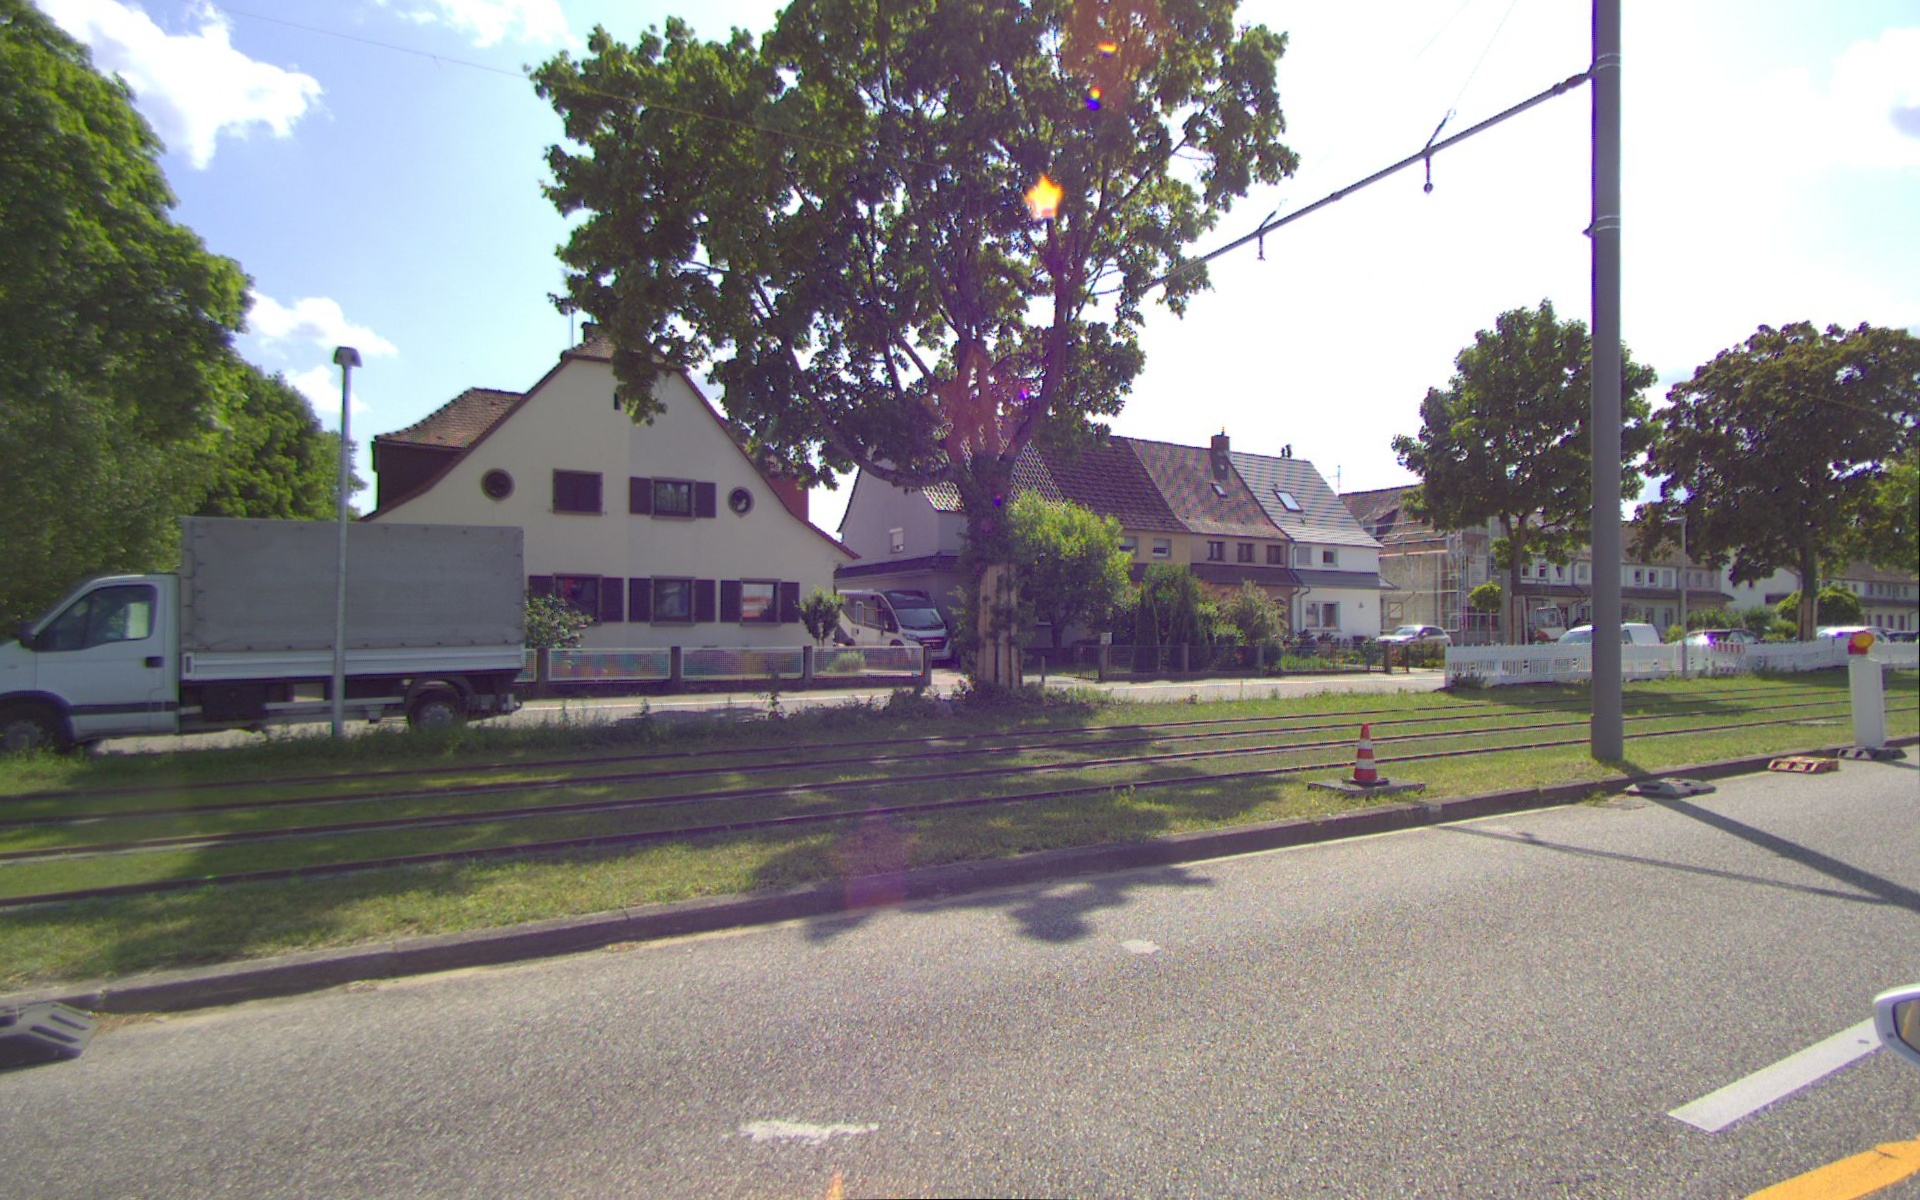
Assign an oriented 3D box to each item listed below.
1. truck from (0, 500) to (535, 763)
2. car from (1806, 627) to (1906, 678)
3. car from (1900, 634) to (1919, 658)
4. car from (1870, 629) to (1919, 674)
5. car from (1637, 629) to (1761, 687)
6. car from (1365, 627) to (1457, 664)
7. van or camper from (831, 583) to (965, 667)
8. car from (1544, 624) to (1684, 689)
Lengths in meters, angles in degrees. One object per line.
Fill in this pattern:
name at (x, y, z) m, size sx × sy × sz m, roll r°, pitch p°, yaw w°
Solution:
truck at (-8.831, 0.400, 12.972) m, size 5.906 × 2.817 × 2.255 m, roll 1°, pitch -2°, yaw -31°
car at (35.365, 2.030, 39.641) m, size 4.079 × 1.892 × 1.768 m, roll 1°, pitch -2°, yaw -30°
car at (70.034, 3.306, 72.747) m, size 4.079 × 1.745 × 1.768 m, roll 1°, pitch -2°, yaw -30°
car at (40.649, 2.165, 42.697) m, size 4.079 × 1.829 × 1.768 m, roll 1°, pitch -2°, yaw -30°
car at (24.294, 1.851, 33.001) m, size 4.177 × 1.797 × 1.768 m, roll 1°, pitch -2°, yaw -30°
car at (19.993, 1.989, 44.496) m, size 3.952 × 1.539 × 1.768 m, roll 1°, pitch -2°, yaw -30°
van or camper at (-2.380, 0.934, 36.614) m, size 2.269 × 2.801 × 6.051 m, roll 1°, pitch -2°, yaw -32°
car at (19.570, 1.643, 30.033) m, size 4.312 × 1.845 × 1.768 m, roll 1°, pitch -2°, yaw -30°
